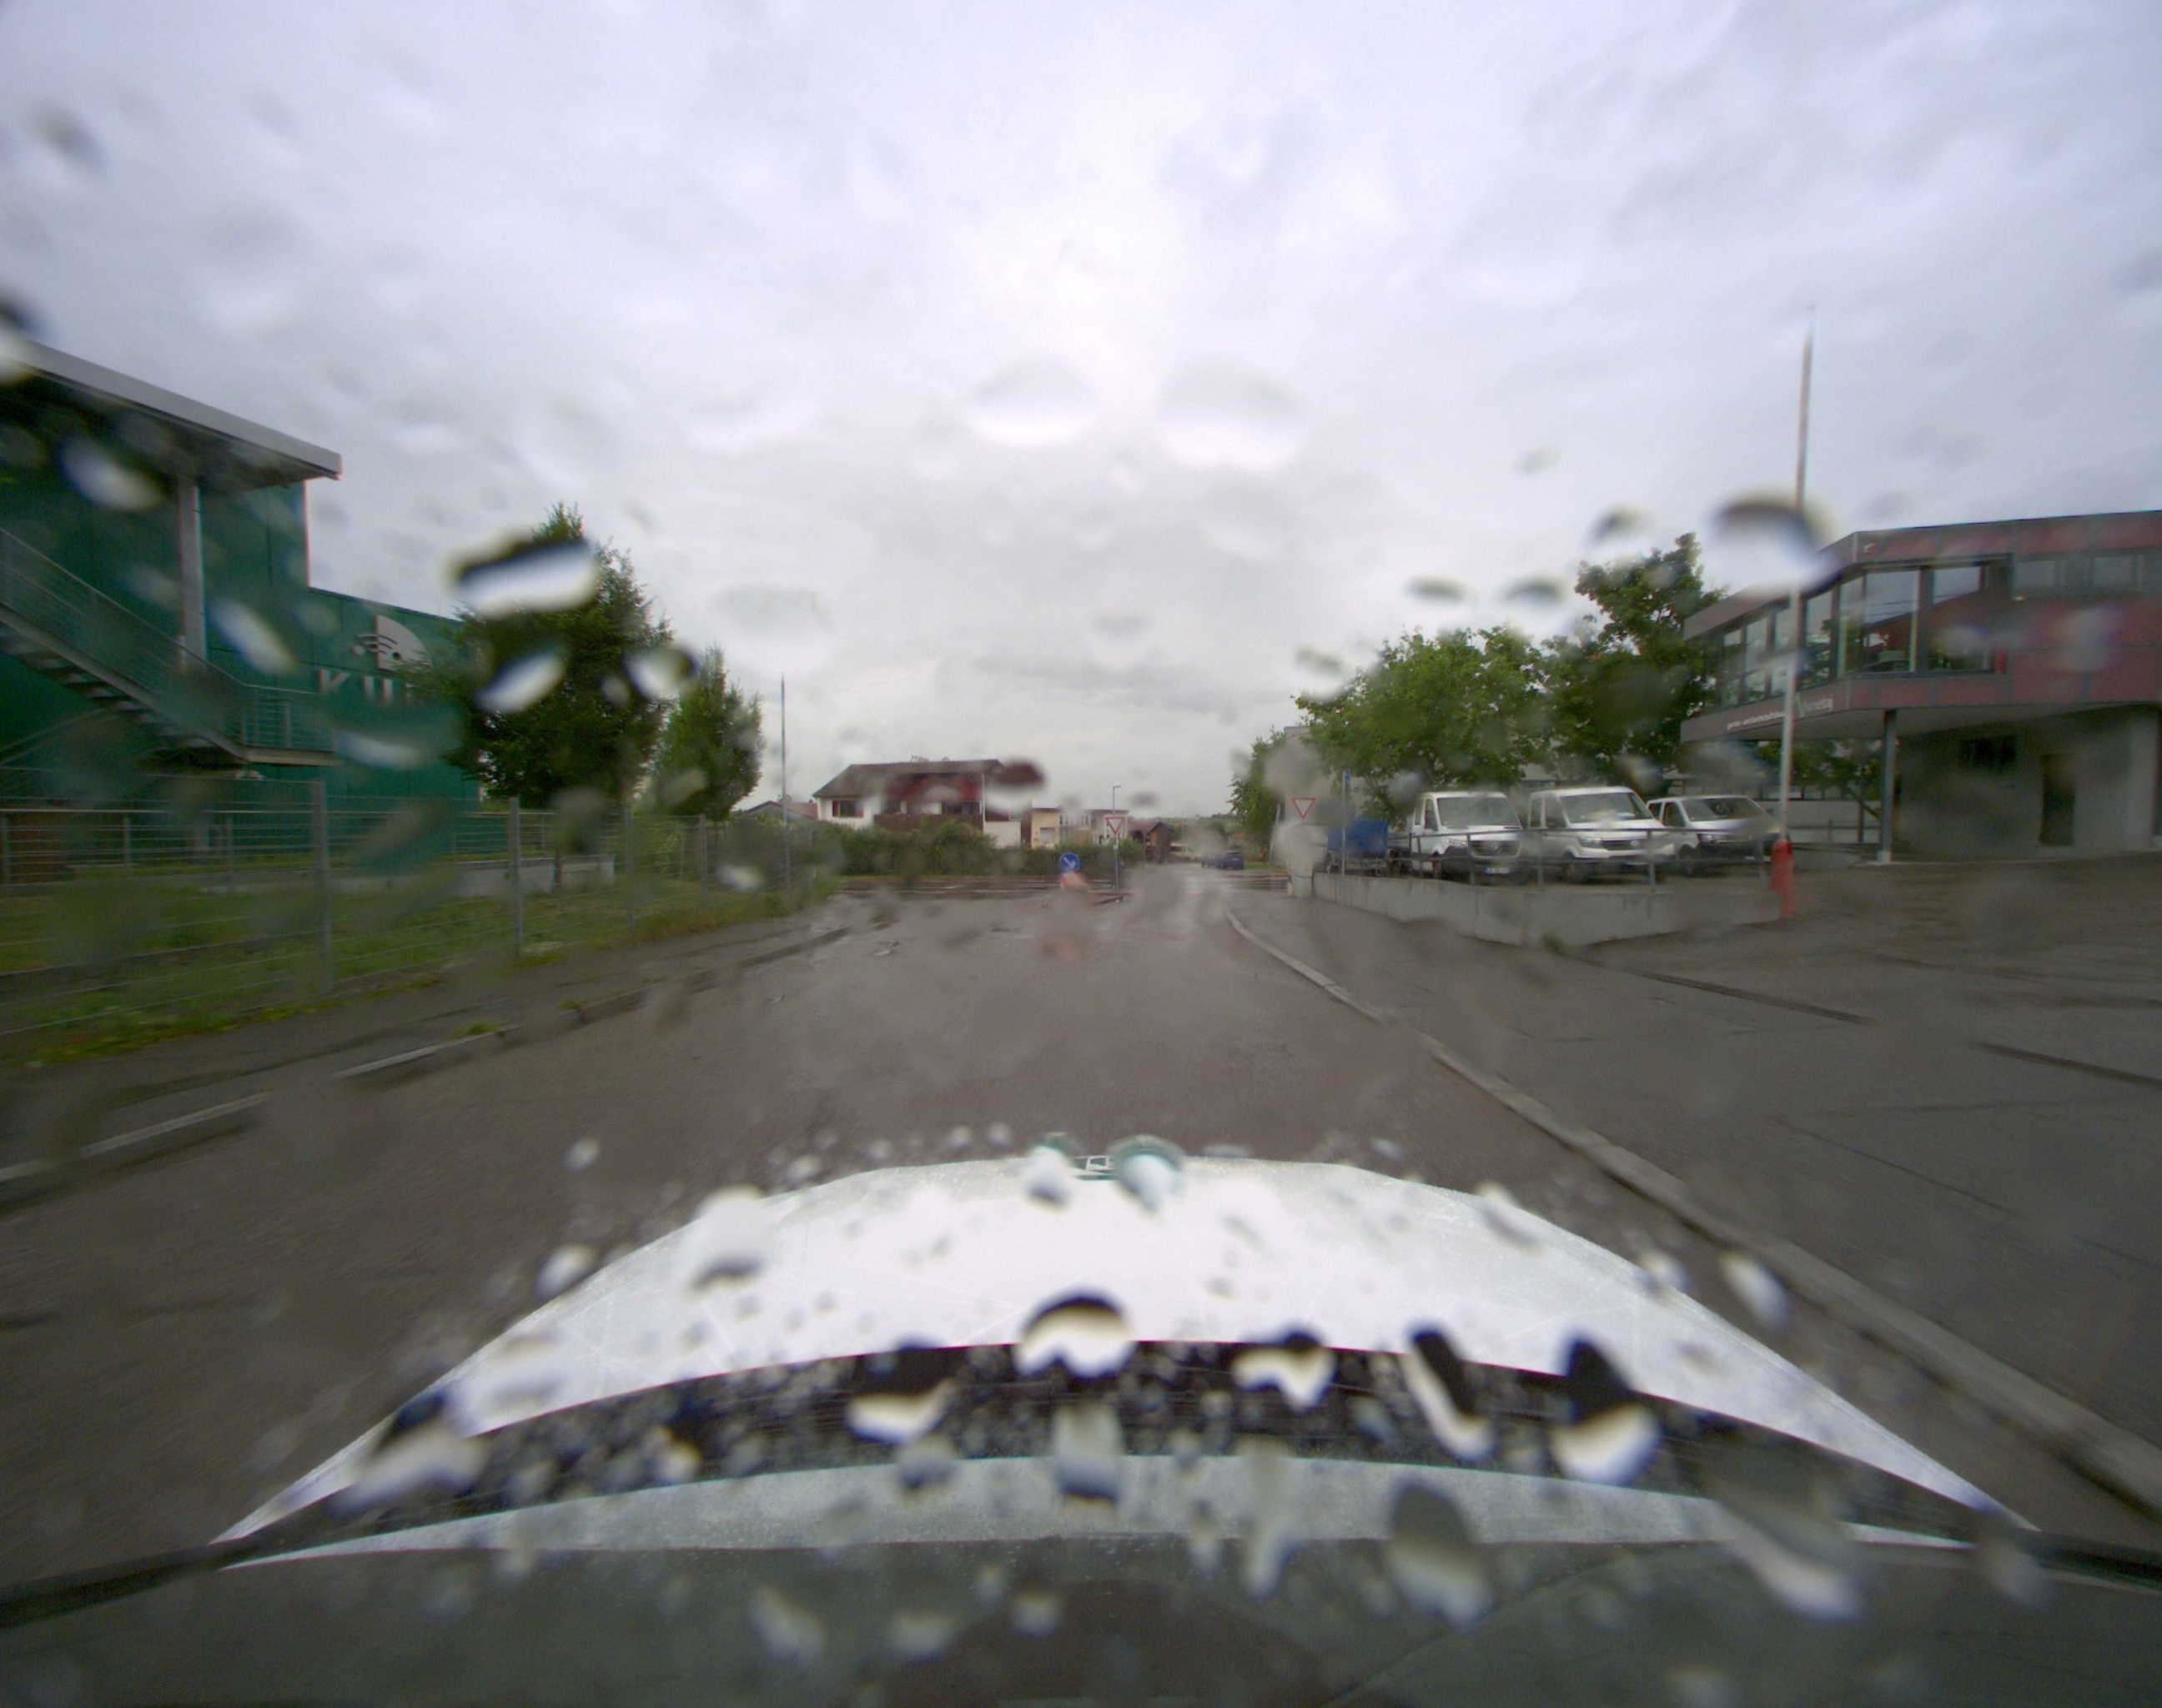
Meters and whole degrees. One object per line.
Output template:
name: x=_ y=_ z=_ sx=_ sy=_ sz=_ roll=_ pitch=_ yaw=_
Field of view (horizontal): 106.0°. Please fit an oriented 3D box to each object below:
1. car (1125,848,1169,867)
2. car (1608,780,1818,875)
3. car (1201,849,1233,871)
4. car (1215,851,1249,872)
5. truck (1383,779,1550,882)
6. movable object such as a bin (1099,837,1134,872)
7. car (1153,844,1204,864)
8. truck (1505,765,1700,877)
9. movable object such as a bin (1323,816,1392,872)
car: x=6.882 y=0.340 z=85.001 sx=2.011 sy=1.905 sz=4.356 roll=0 pitch=-1 yaw=-43
car: x=15.221 y=-0.545 z=20.049 sx=2.043 sy=2.014 sz=4.953 roll=-1 pitch=0 yaw=11
car: x=12.155 y=0.518 z=73.018 sx=2.067 sy=1.835 sz=4.470 roll=-1 pitch=0 yaw=0
car: x=12.297 y=0.611 z=66.557 sx=1.946 sy=1.610 sz=4.445 roll=-1 pitch=0 yaw=-1
truck: x=9.415 y=-0.497 z=20.523 sx=2.094 sy=2.214 sz=5.663 roll=-1 pitch=0 yaw=7
movable object such as a bin: x=2.710 y=0.043 z=61.880 sx=1.718 sy=2.556 sz=3.356 roll=-1 pitch=-1 yaw=19
car: x=12.243 y=-0.002 z=102.312 sx=5.954 sy=2.415 sz=2.477 roll=-1 pitch=-1 yaw=25
truck: x=12.246 y=-0.681 z=19.605 sx=2.229 sy=2.342 sz=4.850 roll=-1 pitch=0 yaw=10
movable object such as a bin: x=7.829 y=-0.270 z=23.166 sx=1.303 sy=1.500 sz=1.857 roll=-1 pitch=-1 yaw=-2
